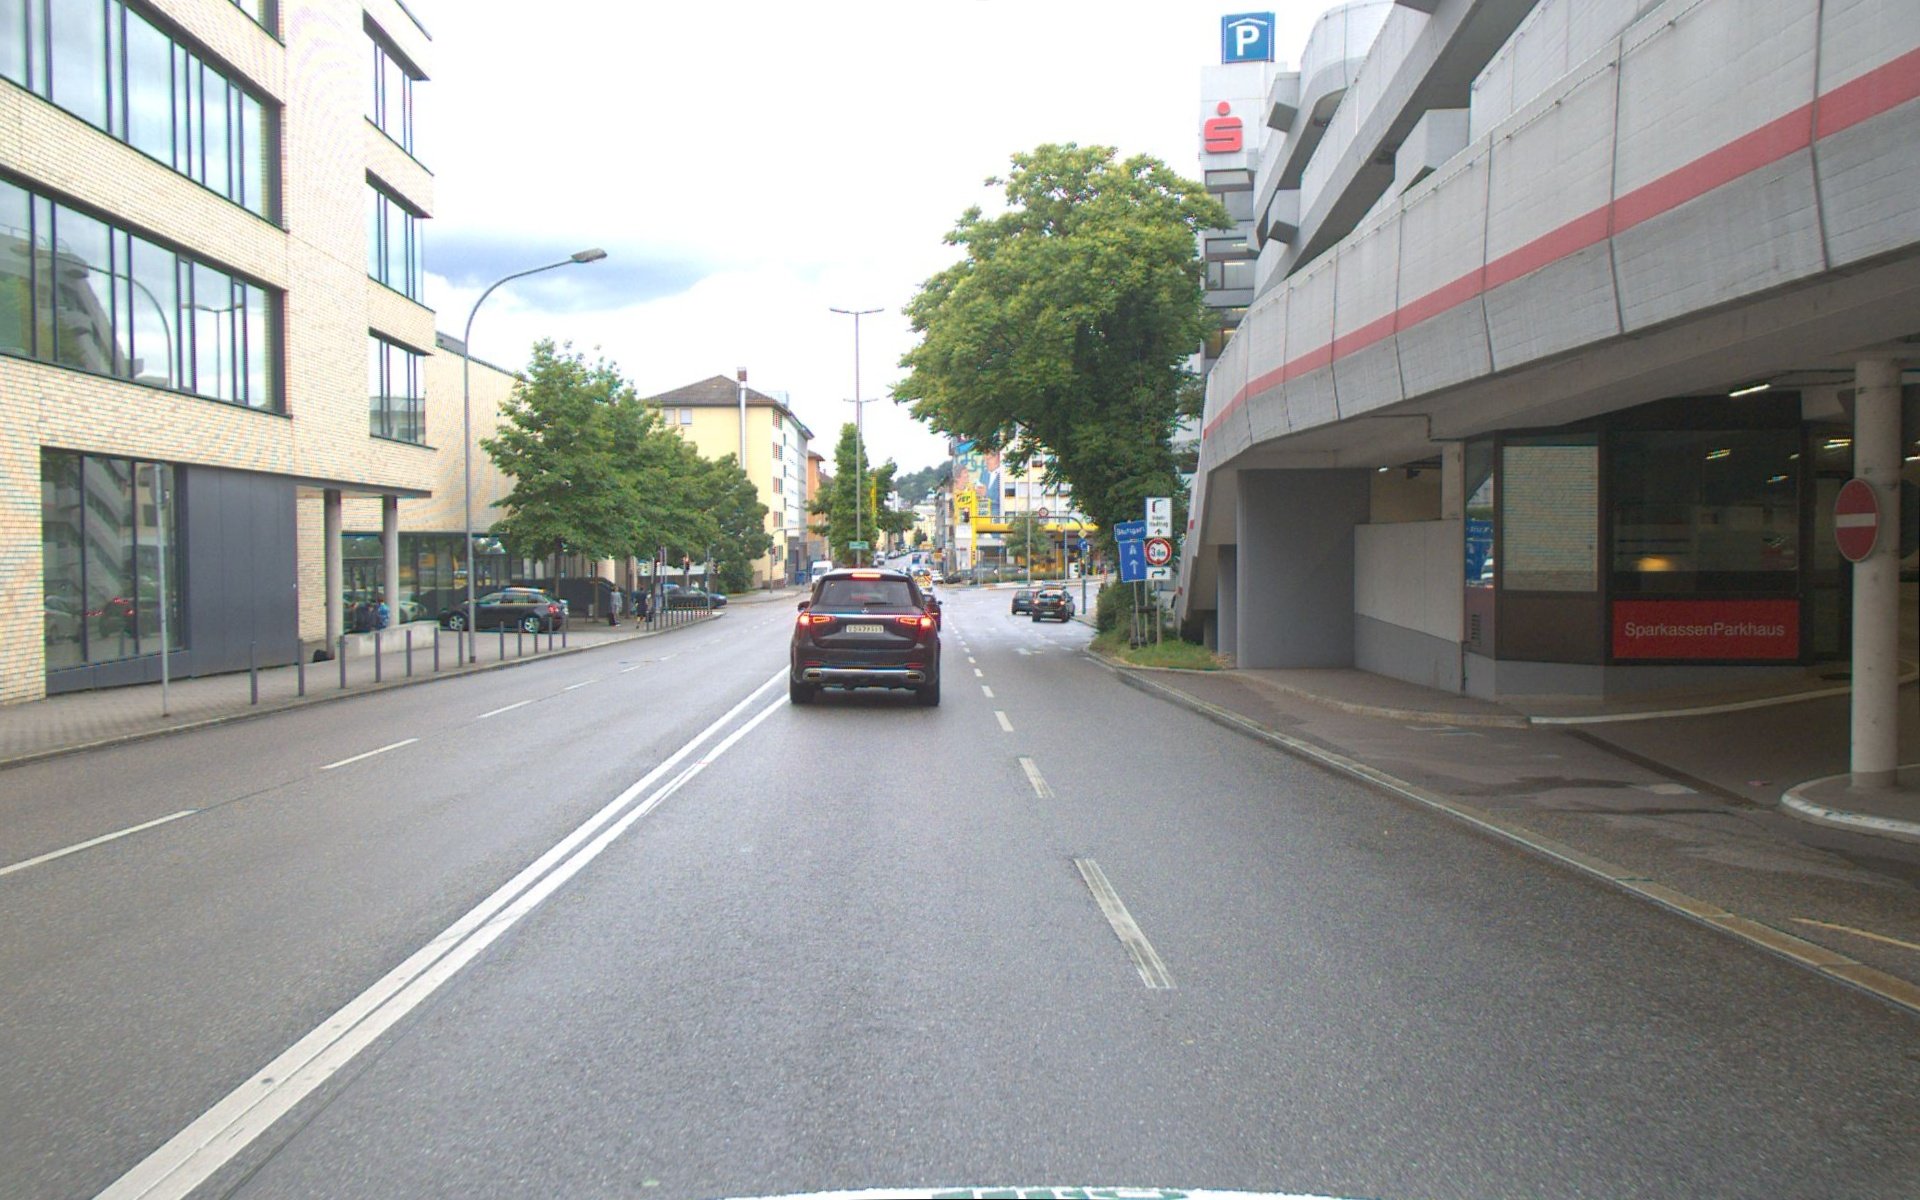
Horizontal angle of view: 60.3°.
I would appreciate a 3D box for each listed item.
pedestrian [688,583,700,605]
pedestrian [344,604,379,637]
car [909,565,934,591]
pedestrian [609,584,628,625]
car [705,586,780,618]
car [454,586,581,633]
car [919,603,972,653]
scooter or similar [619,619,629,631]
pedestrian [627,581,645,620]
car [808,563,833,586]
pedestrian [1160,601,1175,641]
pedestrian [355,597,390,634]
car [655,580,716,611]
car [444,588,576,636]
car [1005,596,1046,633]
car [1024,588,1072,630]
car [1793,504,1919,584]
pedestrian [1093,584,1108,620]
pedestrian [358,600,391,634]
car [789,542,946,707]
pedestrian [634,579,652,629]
[{"bbox_3d":[-18.191,-0.419,112.946,0.697,1.487,0.598,1,-1,-3],"label":"pedestrian"},{"bbox_3d":[-14.828,0.501,41.002,0.586,0.800,0.760,1,-1,-1],"label":"pedestrian"},{"bbox_3d":[-3.175,-1.844,136.454,1.954,2.048,3.998,1,1,-3],"label":"car"},{"bbox_3d":[-14.608,0.189,70.676,0.662,1.727,0.479,2,-1,-3],"label":"pedestrian"},{"bbox_3d":[-14.008,0.124,106.580,4.716,2.049,1.996,0,1,-9],"label":"car"},{"bbox_3d":[-16.629,0.355,62.266,4.332,1.601,1.998,1,2,-7],"label":"car"},{"bbox_3d":[-0.569,1.013,60.612,1.670,1.746,3.440,1,0,-4],"label":"car"},{"bbox_3d":[-14.486,1.065,71.329,0.274,0.509,0.616,1,-1,-1],"label":"scooter or similar"},{"bbox_3d":[-15.061,0.027,76.917,0.674,1.756,0.754,1,-3,-2],"label":"pedestrian"},{"bbox_3d":[-12.377,-2.246,146.987,1.954,1.908,5.138,1,0,-3],"label":"car"},{"bbox_3d":[8.179,0.818,65.210,0.539,1.559,0.488,1,-1,5],"label":"pedestrian"},{"bbox_3d":[-14.902,0.392,41.962,0.667,0.901,0.524,1,-1,-2],"label":"pedestrian"},{"bbox_3d":[-18.297,-0.302,110.208,3.919,1.977,1.993,0,0,-14],"label":"car"},{"bbox_3d":[-16.337,0.407,60.208,4.384,1.615,1.997,-1,1,-8],"label":"car"},{"bbox_3d":[3.742,0.815,94.724,1.954,2.049,3.997,1,0,-3],"label":"car"},{"bbox_3d":[4.379,0.425,82.530,1.954,2.049,3.998,1,1,-3],"label":"car"},{"bbox_3d":[21.175,-1.223,37.205,3.902,1.668,2.001,1,-1,8],"label":"car"},{"bbox_3d":[7.591,0.124,89.455,0.648,1.951,0.729,1,-1,12],"label":"pedestrian"},{"bbox_3d":[-14.878,0.439,42.047,0.574,0.859,0.727,0,-1,-1],"label":"pedestrian"},{"bbox_3d":[-1.262,0.326,23.078,1.954,2.049,3.998,1,0,-3],"label":"car"},{"bbox_3d":[-13.161,0.165,68.765,0.576,2.049,0.748,1,-3,-3],"label":"pedestrian"}]
